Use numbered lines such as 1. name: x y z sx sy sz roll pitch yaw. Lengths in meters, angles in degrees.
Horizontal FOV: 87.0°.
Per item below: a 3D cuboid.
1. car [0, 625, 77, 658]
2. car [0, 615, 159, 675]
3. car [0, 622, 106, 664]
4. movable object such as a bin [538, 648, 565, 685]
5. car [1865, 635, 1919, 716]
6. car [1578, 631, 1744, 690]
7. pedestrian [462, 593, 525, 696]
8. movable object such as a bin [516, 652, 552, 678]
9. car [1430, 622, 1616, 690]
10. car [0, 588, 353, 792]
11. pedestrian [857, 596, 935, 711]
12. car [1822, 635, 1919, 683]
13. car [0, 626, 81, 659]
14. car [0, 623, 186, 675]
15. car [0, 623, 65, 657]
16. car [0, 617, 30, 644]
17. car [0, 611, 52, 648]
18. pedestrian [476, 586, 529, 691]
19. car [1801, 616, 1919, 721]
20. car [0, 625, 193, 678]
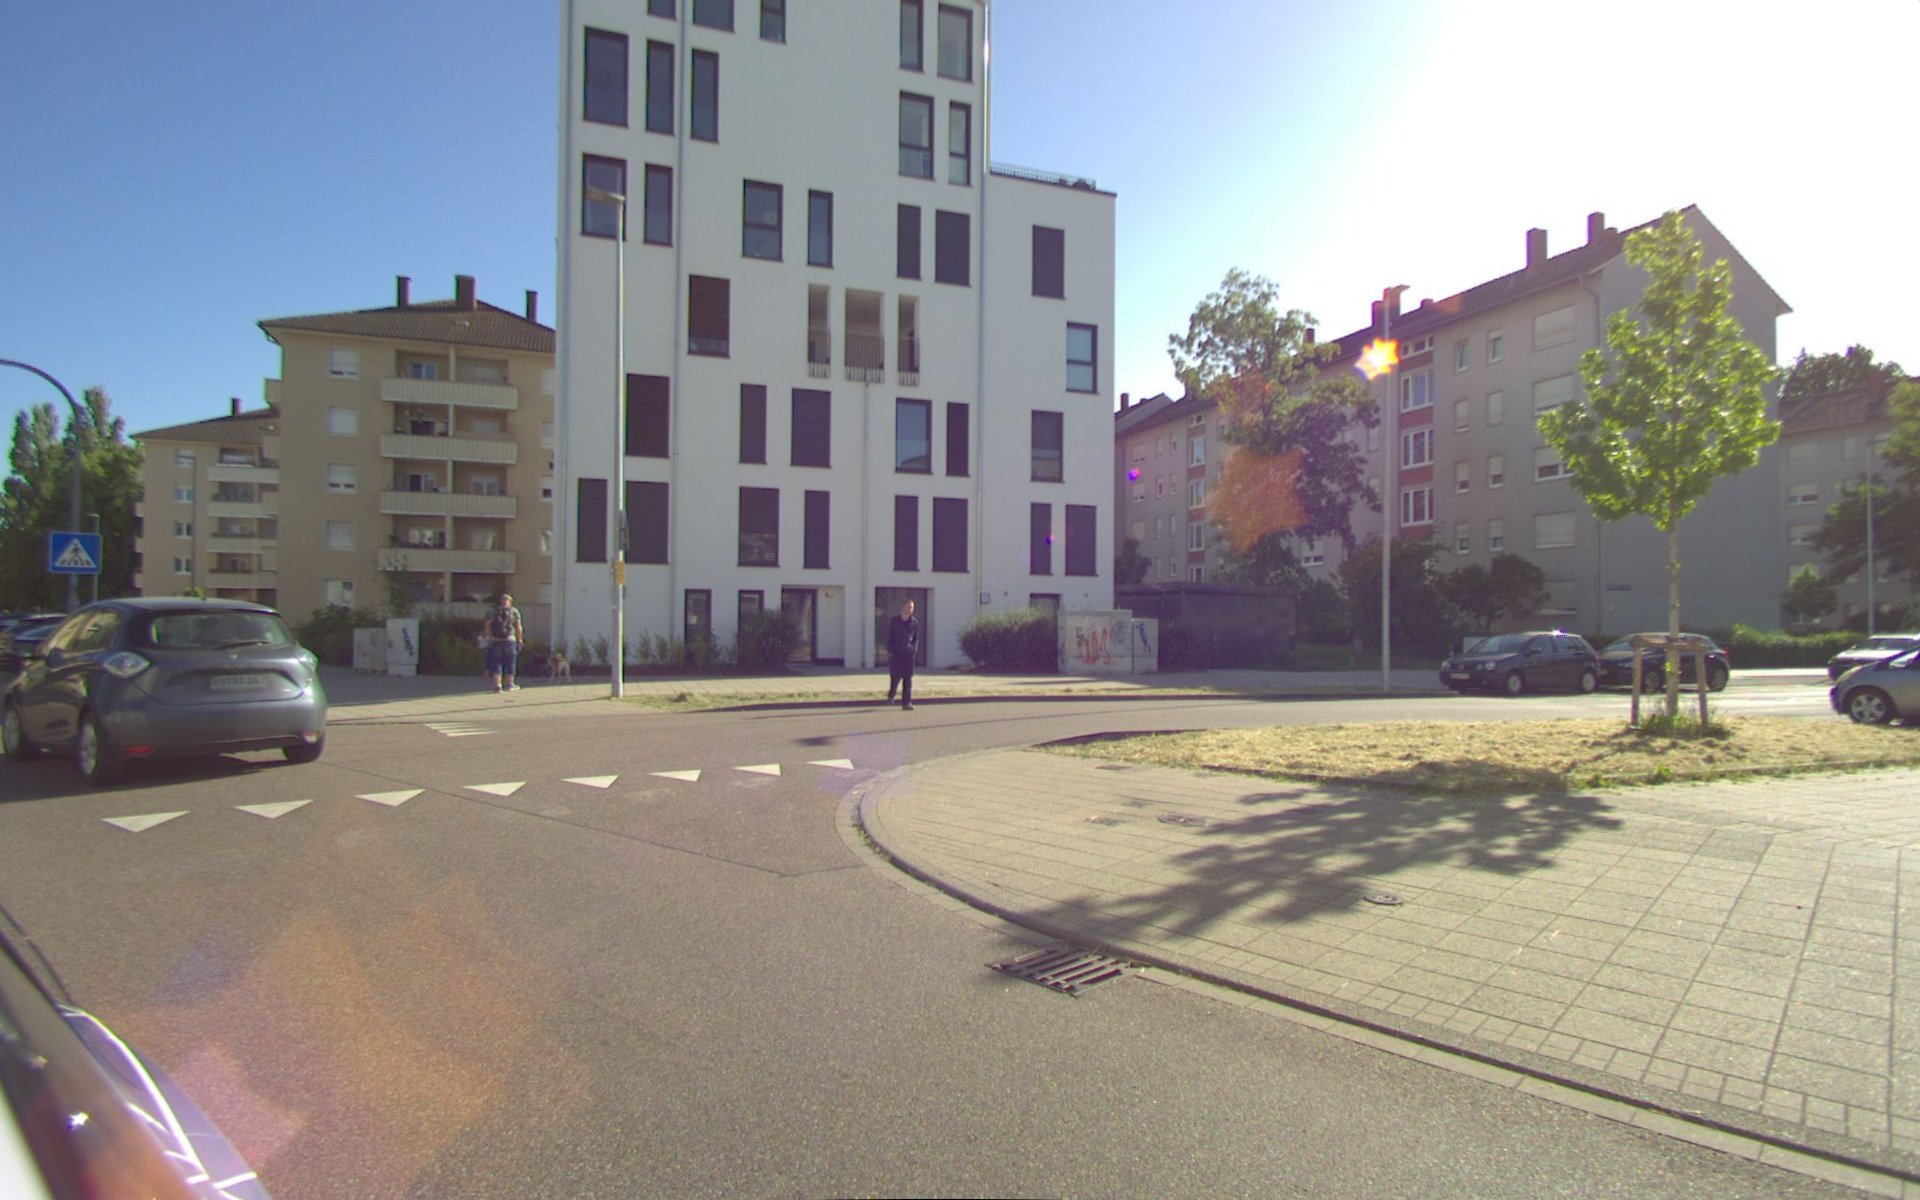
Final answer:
1. car: -44.051 1.923 47.120 1.983 1.264 3.978 2 2 17
2. car: -27.564 1.344 31.334 1.979 1.664 3.985 -1 0 12
3. car: -35.163 1.601 38.257 1.985 1.412 3.974 2 0 19
4. movable object such as a bin: -8.295 1.341 20.544 0.268 0.685 0.851 2 -1 -38
5. car: 16.823 1.173 14.925 1.698 1.284 4.902 2 -2 -25
6. car: 17.513 1.476 25.282 3.931 1.386 1.415 1 -2 -21
7. pedestrian: -9.938 0.941 21.564 0.952 2.137 0.770 -1 -1 23
8. movable object such as a bin: -9.391 1.430 22.307 0.676 0.546 0.272 1 -1 0
9. car: 13.141 1.295 23.632 3.930 1.431 1.678 1 0 -23
10. car: -7.581 0.667 9.544 4.132 1.515 1.819 1 -1 38
11. pedestrian: -1.006 0.819 15.815 0.962 1.727 0.876 1 -2 -24
12. car: 26.888 1.673 28.884 4.120 1.243 1.640 2 0 -20
13. car: -41.880 1.859 44.856 1.987 1.320 3.969 1 0 23
14. car: -23.718 1.253 27.100 1.981 1.176 4.543 -1 0 15
15. car: -49.929 2.065 53.117 1.992 1.652 3.959 2 0 30
16. car: -69.951 2.173 72.952 1.996 1.851 3.952 2 0 35
17. car: -54.760 1.675 57.722 1.987 2.029 3.970 2 0 23
18. pedestrian: -8.511 0.698 18.813 0.777 1.899 0.849 1 0 -31
19. car: 14.875 1.012 14.422 1.698 1.503 4.115 2 -1 -24
20. car: -25.533 1.468 29.720 1.981 1.442 4.542 -1 -2 15
